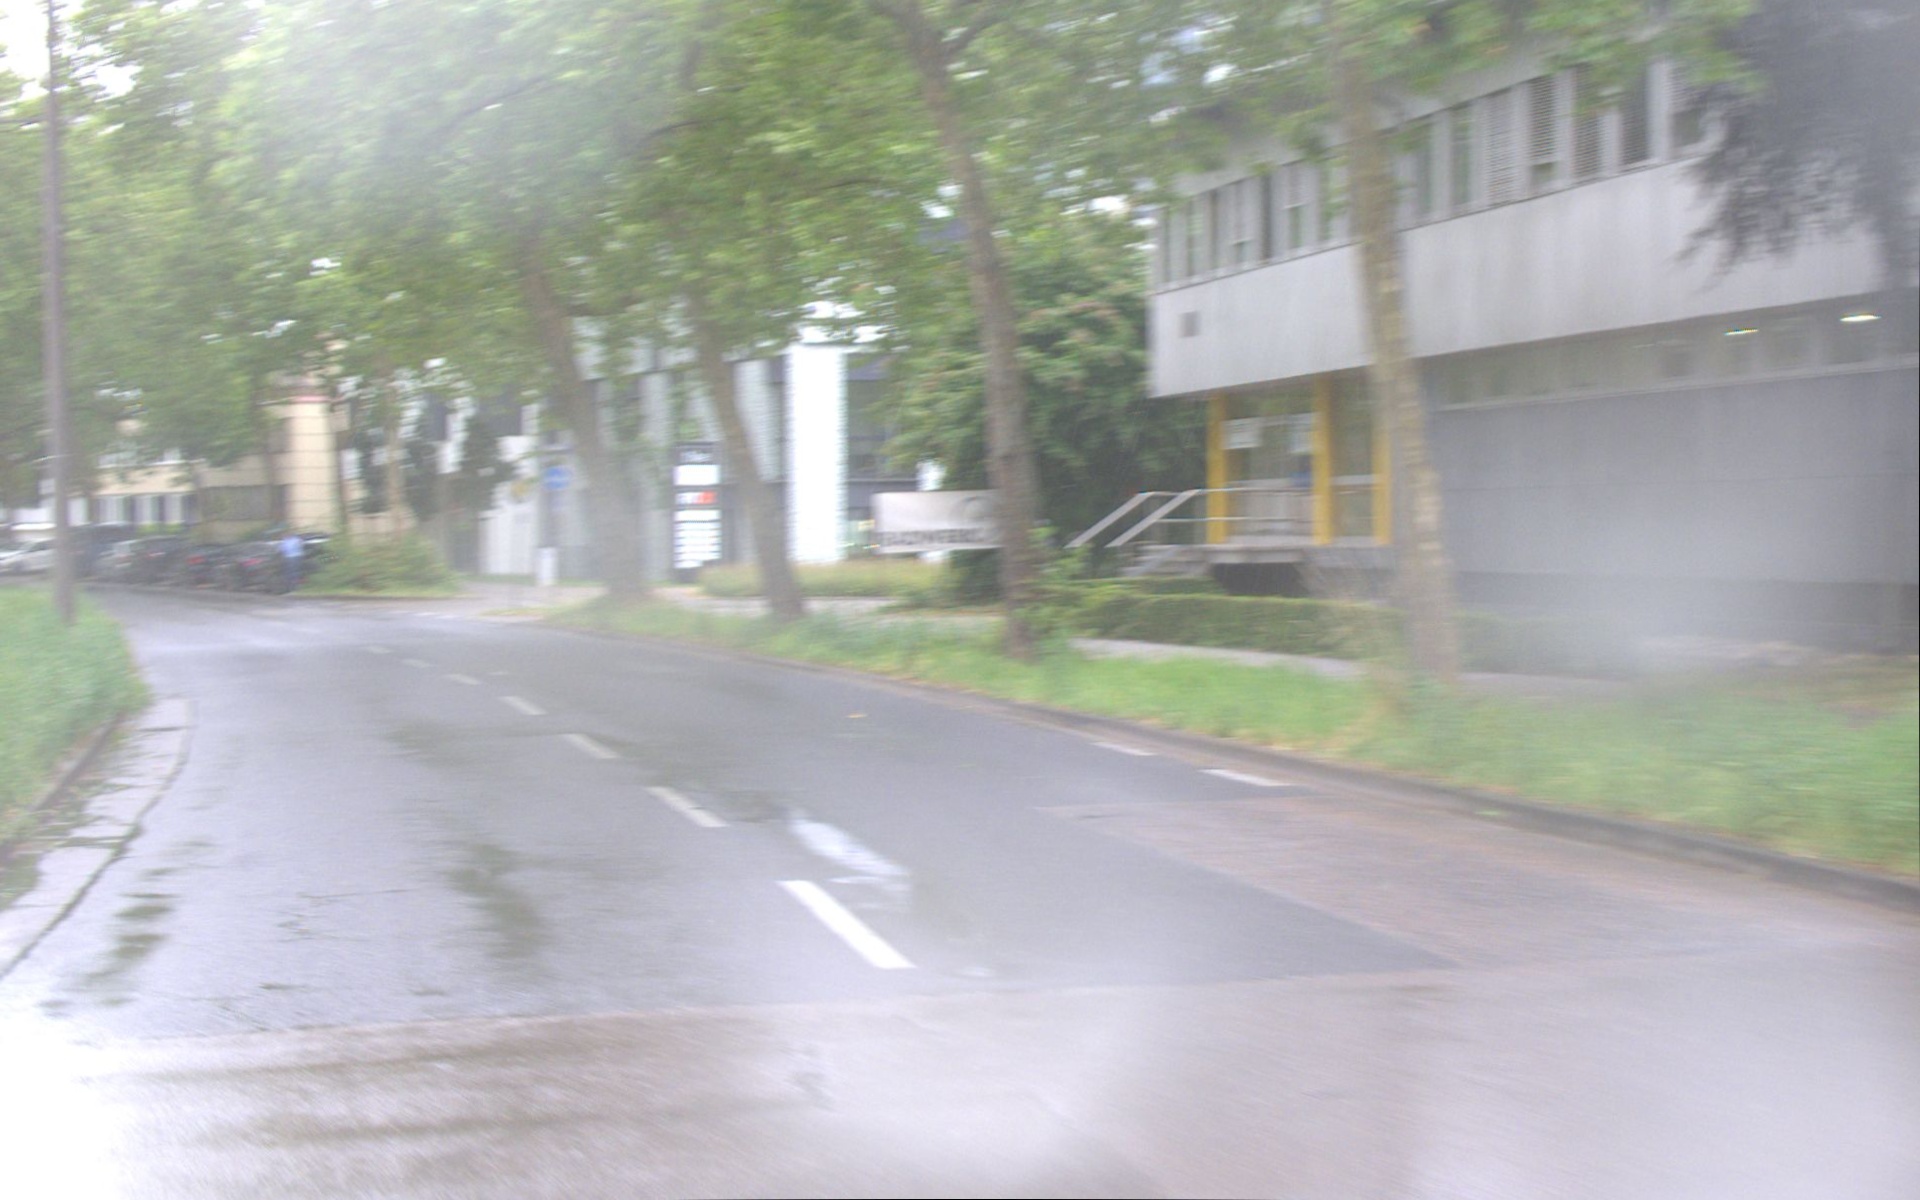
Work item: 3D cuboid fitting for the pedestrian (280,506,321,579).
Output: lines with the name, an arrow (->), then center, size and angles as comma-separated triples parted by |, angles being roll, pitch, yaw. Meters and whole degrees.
pedestrian -> -17.703, -1.554, 92.307 | 0.707, 1.943, 0.856 | 1, 3, 24

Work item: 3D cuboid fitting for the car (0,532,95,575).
car -> -37.488, -1.889, 140.213 | 3.867, 1.645, 1.888 | -1, 3, -30

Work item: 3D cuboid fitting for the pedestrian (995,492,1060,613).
pedestrian -> 0.938, -0.677, 48.195 | 0.670, 1.662, 0.825 | -1, 2, -19

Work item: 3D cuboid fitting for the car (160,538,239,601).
car -> -23.368, -0.948, 105.529 | 1.993, 1.776, 4.002 | -1, 3, -18

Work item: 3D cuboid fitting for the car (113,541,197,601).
car -> -26.269, -0.966, 112.085 | 1.993, 1.776, 4.001 | -1, 3, -23

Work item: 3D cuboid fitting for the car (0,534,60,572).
car -> -39.753, -1.952, 143.439 | 3.868, 1.488, 1.888 | -2, 3, -35

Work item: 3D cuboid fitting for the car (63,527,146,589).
car -> -30.645, -1.520, 123.036 | 2.121, 2.081, 4.001 | -1, 3, -25
